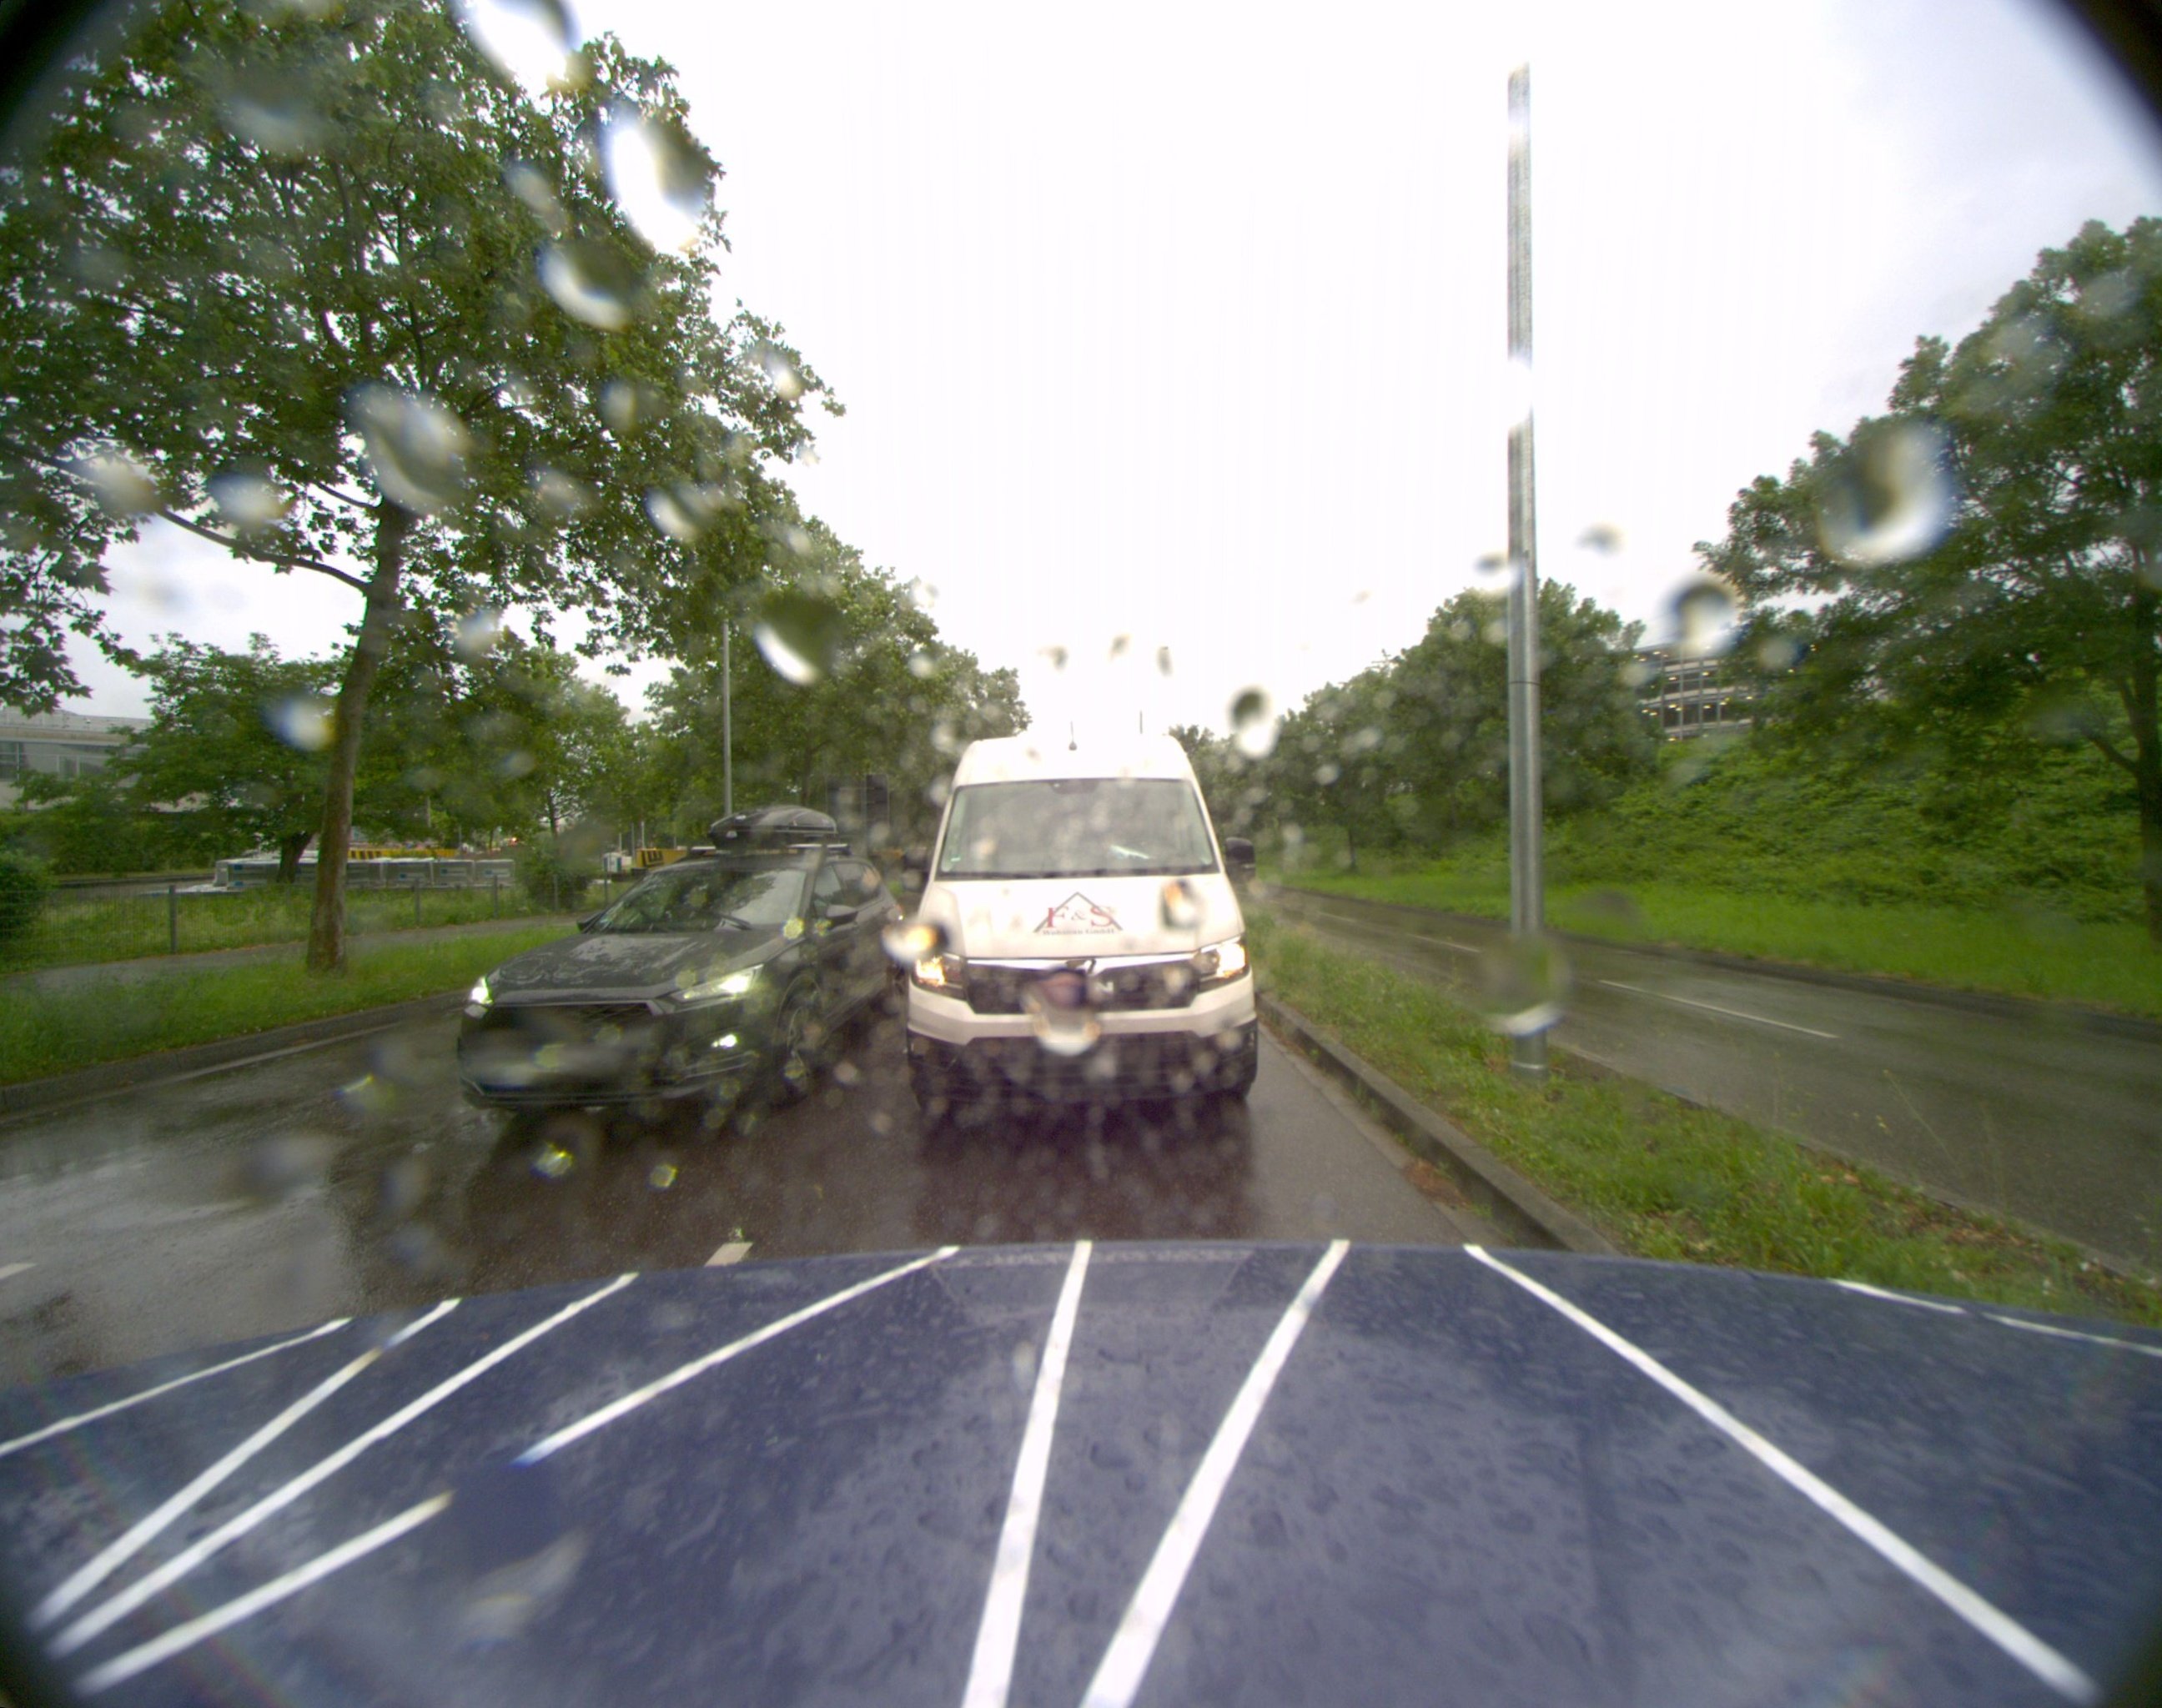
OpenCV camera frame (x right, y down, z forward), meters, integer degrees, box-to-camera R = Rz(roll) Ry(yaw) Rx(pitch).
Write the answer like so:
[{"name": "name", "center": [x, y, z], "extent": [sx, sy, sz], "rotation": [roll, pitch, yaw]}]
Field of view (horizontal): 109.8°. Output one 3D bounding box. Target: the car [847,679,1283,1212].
[{"name": "car", "center": [-0.119, 0.427, 6.460], "extent": [2.027, 2.498, 5.695], "rotation": [-1, 0, -1]}]

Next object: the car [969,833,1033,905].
[{"name": "car", "center": [-2.901, 0.506, 28.645], "extent": [1.894, 2.432, 5.317], "rotation": [-1, 0, -1]}]

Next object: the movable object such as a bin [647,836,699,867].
[{"name": "movable object such as a bin", "center": [-48.041, -0.323, 89.591], "extent": [1.913, 3.415, 4.947], "rotation": [-1, 1, 34]}]

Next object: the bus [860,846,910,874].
[{"name": "bus", "center": [-19.151, 0.557, 74.392], "extent": [4.370, 2.553, 1.711], "rotation": [-2, 1, 0]}]

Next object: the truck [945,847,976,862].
[{"name": "truck", "center": [-21.000, 0.069, 132.620], "extent": [5.061, 2.363, 1.792], "rotation": [-3, 1, -30]}]

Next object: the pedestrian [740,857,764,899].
[{"name": "pedestrian", "center": [-13.828, 0.995, 31.933], "extent": [0.646, 1.707, 0.656], "rotation": [-2, 1, 1]}]

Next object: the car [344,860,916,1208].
[{"name": "car", "center": [-2.768, 0.936, 6.073], "extent": [1.894, 1.688, 4.423], "rotation": [-1, 0, 0]}]
